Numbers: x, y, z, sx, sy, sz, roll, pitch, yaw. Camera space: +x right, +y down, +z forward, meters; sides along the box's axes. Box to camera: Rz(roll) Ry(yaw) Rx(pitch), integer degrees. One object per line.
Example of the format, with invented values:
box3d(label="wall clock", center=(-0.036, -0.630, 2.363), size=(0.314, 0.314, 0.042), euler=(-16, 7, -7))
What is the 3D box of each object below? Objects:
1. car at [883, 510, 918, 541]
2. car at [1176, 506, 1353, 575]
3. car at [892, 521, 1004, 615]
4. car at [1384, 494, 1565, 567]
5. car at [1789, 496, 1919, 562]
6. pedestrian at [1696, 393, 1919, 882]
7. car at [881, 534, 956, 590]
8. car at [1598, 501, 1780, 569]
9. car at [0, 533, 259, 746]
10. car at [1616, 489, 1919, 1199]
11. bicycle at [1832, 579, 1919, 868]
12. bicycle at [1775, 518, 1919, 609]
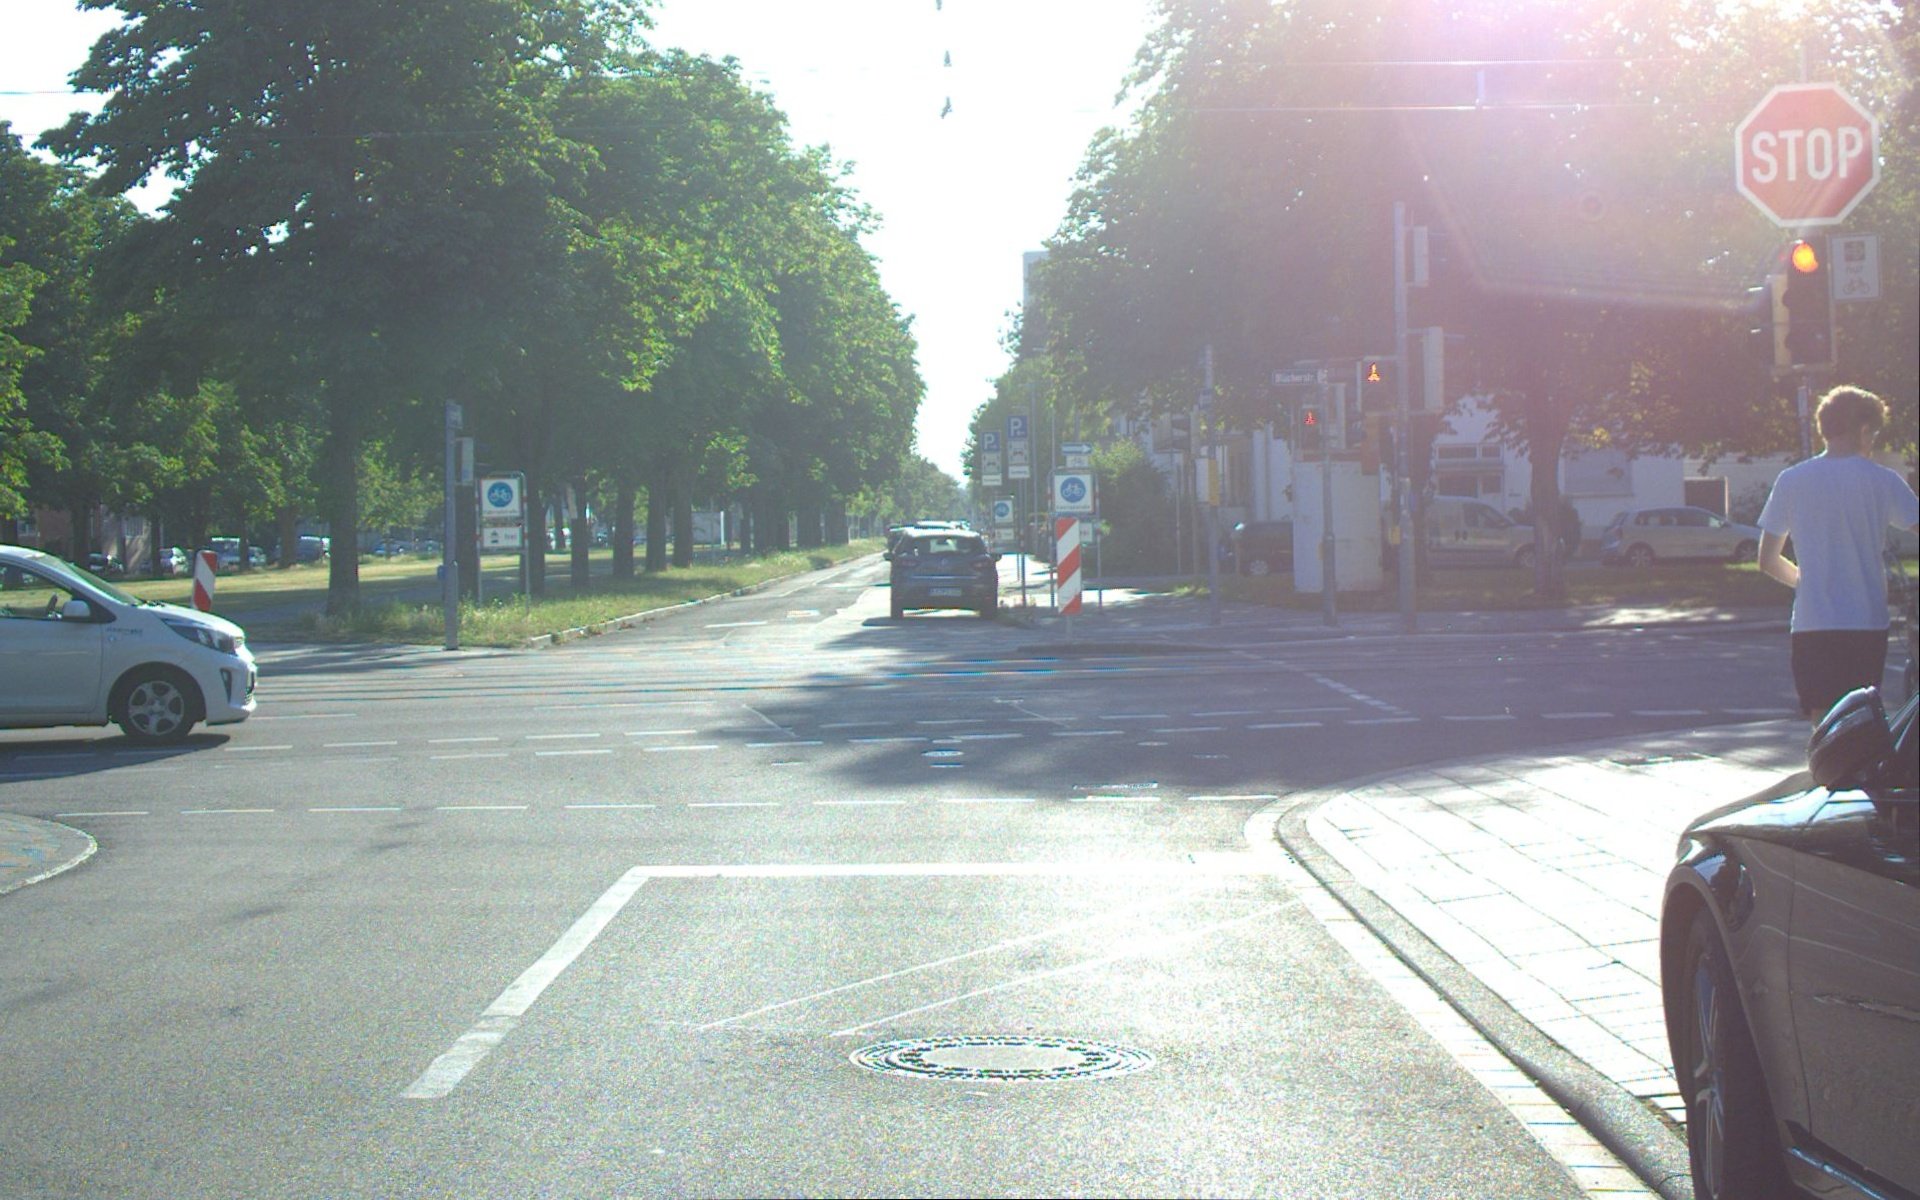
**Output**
box3d(label="car", center=(-3.850, -4.839, 223.647), size=(2.134, 2.007, 3.902), euler=(-1, 1, 1))
box3d(label="car", center=(6.770, -1.337, 76.558), size=(3.780, 1.422, 1.744), euler=(-1, 3, 1))
box3d(label="car", center=(-0.163, -0.533, 55.721), size=(1.641, 1.446, 3.307), euler=(-1, 1, 3))
box3d(label="car", center=(11.450, -1.555, 76.693), size=(3.780, 1.520, 1.744), euler=(-1, 3, 1))
box3d(label="car", center=(20.714, -1.605, 77.032), size=(3.845, 1.422, 1.598), euler=(-1, 1, -4))
box3d(label="pedestrian", center=(3.356, 0.132, 13.539), size=(0.670, 1.859, 0.882), euler=(-1, 1, -4))
box3d(label="car", center=(-1.055, -1.006, 89.728), size=(1.845, 1.389, 3.829), euler=(0, 1, 1))
box3d(label="car", center=(16.185, -1.441, 76.445), size=(3.663, 1.422, 1.532), euler=(-1, 1, -4))
box3d(label="car", center=(-7.036, 0.274, 25.174), size=(3.685, 1.483, 1.742), euler=(-1, 1, -11))
box3d(label="car", center=(2.422, 0.585, 4.985), size=(1.859, 1.537, 4.874), euler=(-1, 1, -2))
box3d(label="bicycle", center=(3.928, 0.480, 13.347), size=(0.487, 1.093, 1.791), euler=(-1, 1, -5))
box3d(label="bicycle", center=(11.530, -0.472, 44.207), size=(1.954, 1.128, 0.620), euler=(-1, 1, 3))
